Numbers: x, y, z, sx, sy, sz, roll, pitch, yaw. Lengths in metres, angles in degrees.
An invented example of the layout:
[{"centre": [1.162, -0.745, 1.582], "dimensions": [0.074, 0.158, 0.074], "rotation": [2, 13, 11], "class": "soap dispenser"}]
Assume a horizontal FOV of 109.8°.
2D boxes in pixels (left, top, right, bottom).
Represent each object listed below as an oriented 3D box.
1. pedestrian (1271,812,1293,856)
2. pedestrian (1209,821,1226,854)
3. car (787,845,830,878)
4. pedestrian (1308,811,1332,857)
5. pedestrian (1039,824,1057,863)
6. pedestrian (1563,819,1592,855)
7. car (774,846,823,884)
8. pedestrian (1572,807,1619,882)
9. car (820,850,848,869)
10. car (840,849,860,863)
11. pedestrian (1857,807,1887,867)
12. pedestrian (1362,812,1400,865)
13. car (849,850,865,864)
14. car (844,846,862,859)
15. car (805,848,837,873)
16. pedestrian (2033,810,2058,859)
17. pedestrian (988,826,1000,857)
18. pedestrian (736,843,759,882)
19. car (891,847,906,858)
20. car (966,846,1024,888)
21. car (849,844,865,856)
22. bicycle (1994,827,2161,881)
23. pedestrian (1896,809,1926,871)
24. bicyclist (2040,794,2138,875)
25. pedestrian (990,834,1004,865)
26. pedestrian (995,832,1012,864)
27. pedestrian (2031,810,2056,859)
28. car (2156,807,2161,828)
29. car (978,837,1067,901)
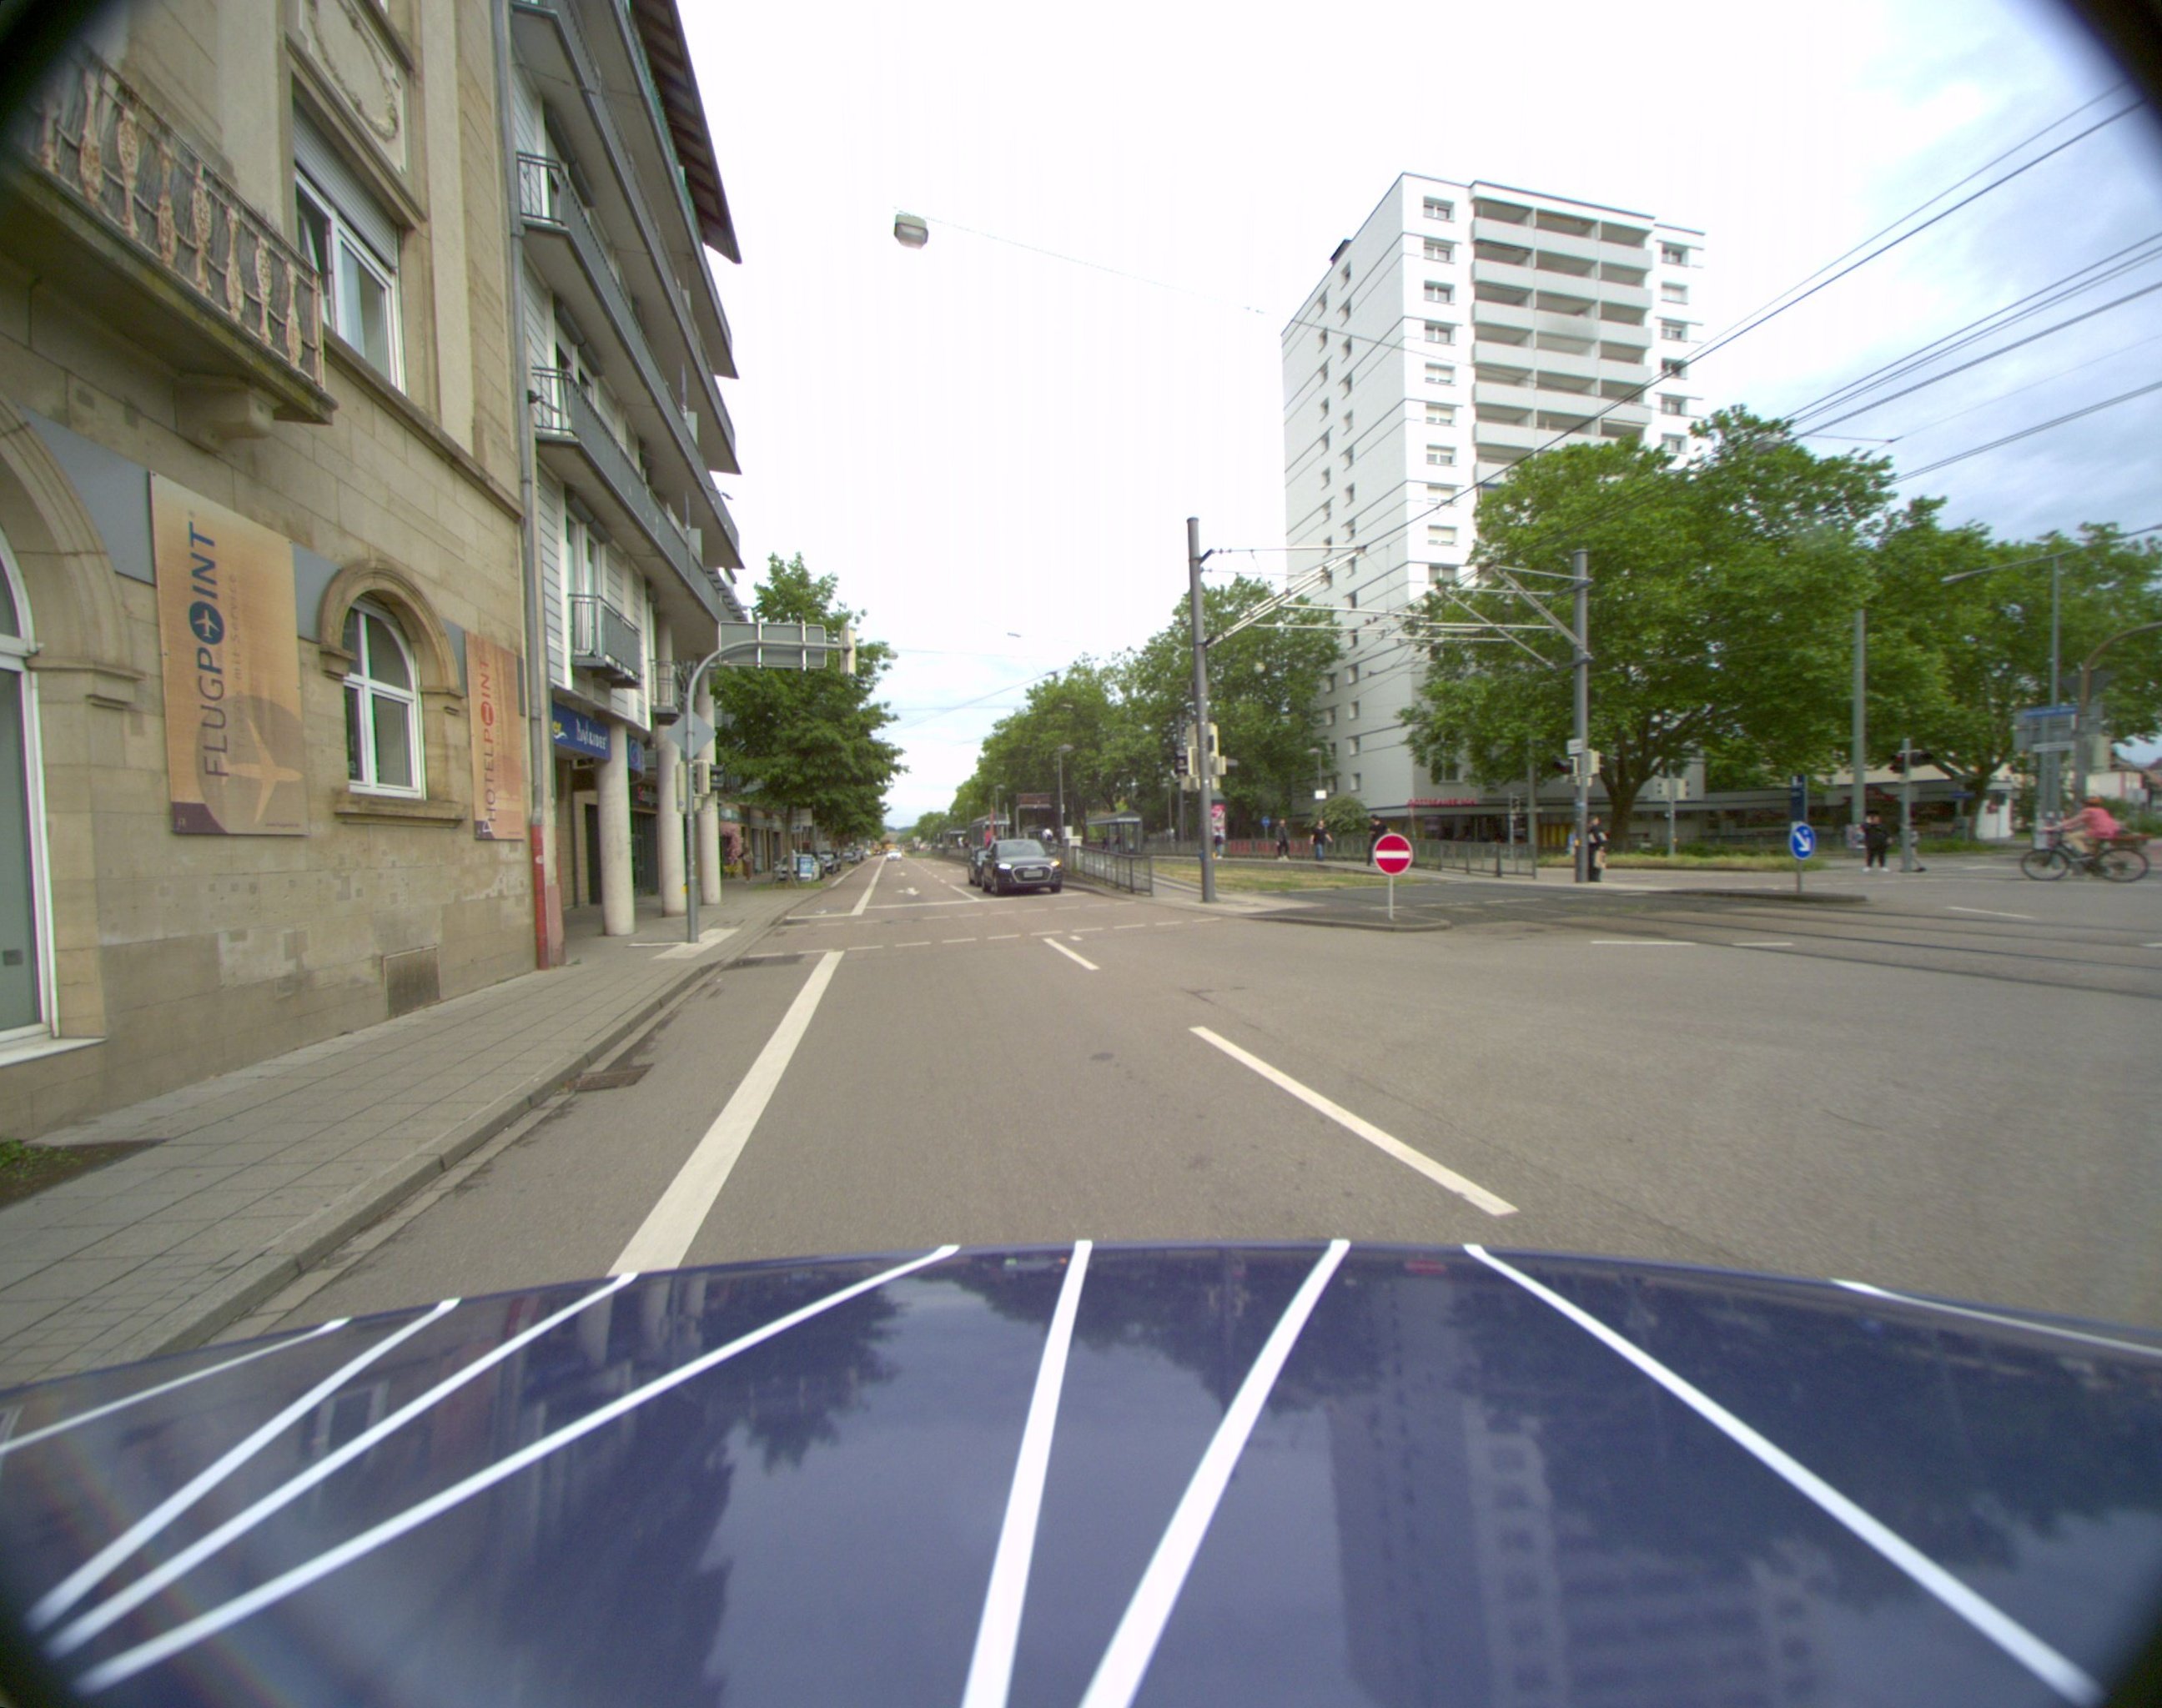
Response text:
[{"centre": [8.254, -0.826, 31.177], "dimensions": [0.623, 1.779, 0.534], "rotation": [-4, 2, -13], "class": "pedestrian"}, {"centre": [7.055, -0.847, 39.255], "dimensions": [0.623, 1.659, 0.564], "rotation": [-4, 2, -13], "class": "pedestrian"}, {"centre": [-14.601, 0.345, 40.921], "dimensions": [1.732, 1.652, 3.937], "rotation": [-1, 1, -14], "class": "car"}, {"centre": [9.167, -0.771, 29.201], "dimensions": [0.623, 1.741, 0.547], "rotation": [-4, 2, -13], "class": "pedestrian"}, {"centre": [-1.487, -0.474, 34.247], "dimensions": [0.663, 1.741, 0.534], "rotation": [-4, 2, -13], "class": "pedestrian"}, {"centre": [21.309, -0.721, 32.618], "dimensions": [0.554, 1.500, 0.853], "rotation": [-3, 2, -7], "class": "pedestrian"}, {"centre": [-13.493, 0.482, 36.487], "dimensions": [1.733, 1.652, 4.097], "rotation": [0, 1, -14], "class": "car"}, {"centre": [12.449, -0.229, 18.404], "dimensions": [0.656, 1.741, 0.626], "rotation": [-4, 2, -12], "class": "pedestrian"}, {"centre": [-18.901, 0.376, 58.256], "dimensions": [1.732, 1.375, 3.810], "rotation": [-1, 1, -14], "class": "car"}, {"centre": [-23.696, 0.194, 78.151], "dimensions": [1.732, 1.375, 3.810], "rotation": [-1, 1, -14], "class": "car"}, {"centre": [21.530, -0.458, 20.682], "dimensions": [0.523, 1.603, 0.528], "rotation": [-1, 3, 44], "class": "pedestrian"}, {"centre": [9.928, -0.518, 25.141], "dimensions": [0.743, 1.686, 0.877], "rotation": [-4, 2, -13], "class": "pedestrian"}, {"centre": [-29.545, 0.359, 100.303], "dimensions": [1.732, 1.675, 3.810], "rotation": [-1, 1, -14], "class": "car"}, {"centre": [-25.421, -0.165, 84.762], "dimensions": [1.732, 1.375, 3.810], "rotation": [-1, 1, -14], "class": "car"}, {"centre": [-17.303, 0.403, 50.716], "dimensions": [1.687, 1.536, 3.937], "rotation": [-1, 1, -14], "class": "car"}, {"centre": [27.335, -0.542, 21.537], "dimensions": [0.392, 1.357, 0.416], "rotation": [-5, 3, -41], "class": "pedestrian"}, {"centre": [-5.768, -0.825, 50.433], "dimensions": [0.586, 2.039, 0.820], "rotation": [-4, 2, -10], "class": "pedestrian"}, {"centre": [-15.835, 0.406, 36.062], "dimensions": [0.745, 1.795, 0.838], "rotation": [-4, 2, -15], "class": "pedestrian"}, {"centre": [-23.005, -0.239, 95.711], "dimensions": [1.867, 1.339, 3.810], "rotation": [-1, 1, -14], "class": "car"}, {"centre": [-3.362, 0.454, 29.210], "dimensions": [1.639, 1.367, 4.008], "rotation": [-4, 2, -14], "class": "car"}, {"centre": [-28.048, -0.489, 95.128], "dimensions": [1.732, 1.375, 3.810], "rotation": [-1, 1, -14], "class": "car"}, {"centre": [20.878, -0.021, 15.993], "dimensions": [0.730, 1.058, 1.990], "rotation": [-1, 2, -14], "class": "bicycle"}, {"centre": [21.766, -0.371, 19.926], "dimensions": [0.504, 1.603, 0.367], "rotation": [-1, 3, 44], "class": "pedestrian"}, {"centre": [20.920, -0.394, 15.790], "dimensions": [0.708, 1.628, 0.992], "rotation": [-1, 1, -14], "class": "bicyclist"}, {"centre": [-5.028, -0.290, 45.577], "dimensions": [0.684, 1.781, 0.820], "rotation": [-4, 2, -10], "class": "pedestrian"}, {"centre": [-4.370, -0.323, 43.028], "dimensions": [0.661, 1.781, 0.535], "rotation": [-2, 3, 26], "class": "pedestrian"}, {"centre": [27.075, -0.537, 21.384], "dimensions": [0.392, 1.357, 0.416], "rotation": [-5, 3, -41], "class": "pedestrian"}, {"centre": [108.381, -3.685, 75.326], "dimensions": [4.006, 2.002, 1.995], "rotation": [-5, 2, -37], "class": "car"}, {"centre": [-1.873, 0.378, 22.926], "dimensions": [1.918, 1.638, 4.361], "rotation": [-4, 2, -14], "class": "car"}]
